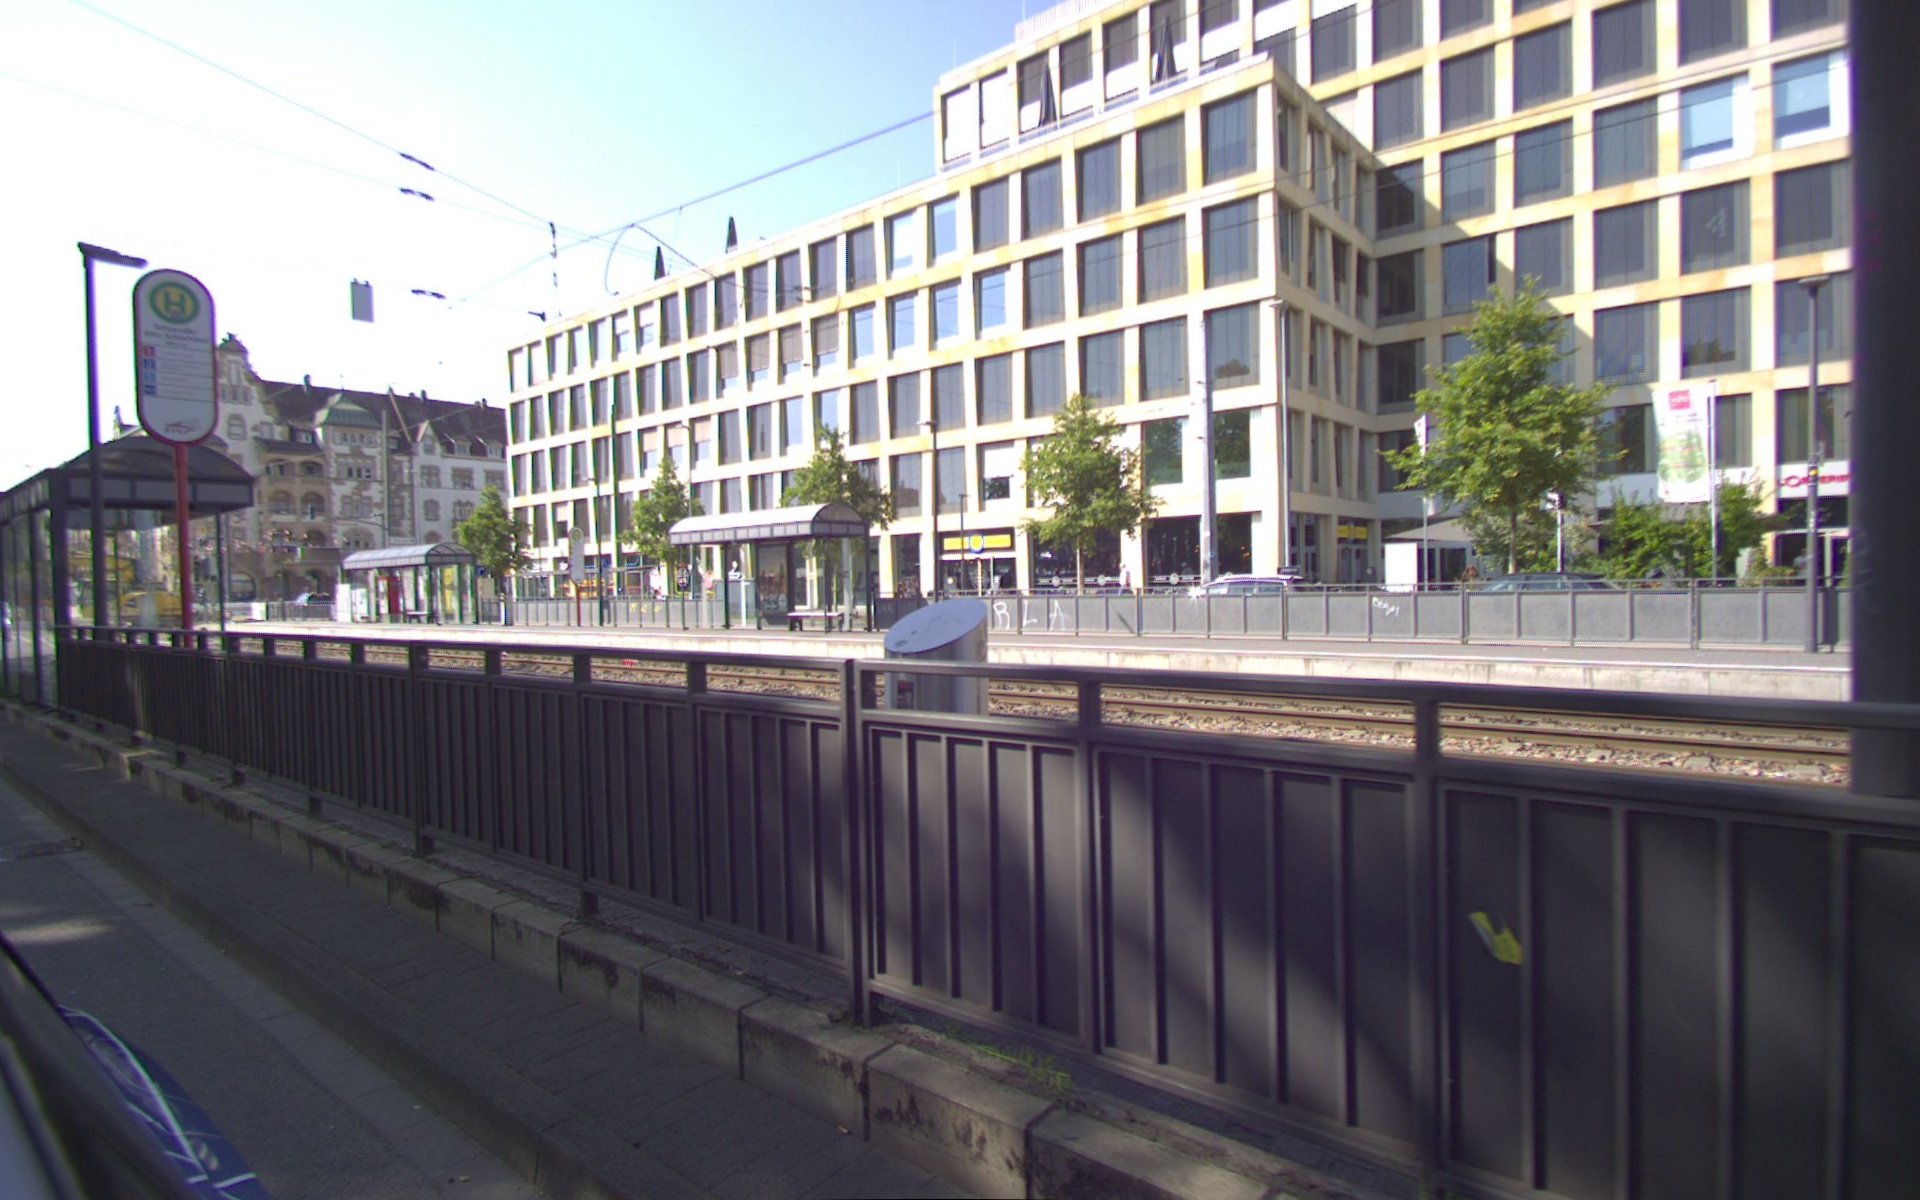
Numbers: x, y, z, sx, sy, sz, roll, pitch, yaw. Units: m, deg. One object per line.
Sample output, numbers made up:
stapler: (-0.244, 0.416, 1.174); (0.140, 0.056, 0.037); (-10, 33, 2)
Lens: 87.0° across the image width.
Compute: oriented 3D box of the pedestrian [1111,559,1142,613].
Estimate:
pedestrian: (6.053, -0.514, 36.843); (0.836, 1.931, 0.786); (1, -1, 34)

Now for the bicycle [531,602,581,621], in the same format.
bicycle: (-22.914, 0.644, 57.460); (1.019, 0.975, 2.407); (-1, 1, 38)

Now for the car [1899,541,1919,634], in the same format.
car: (18.016, -0.235, 16.268); (4.128, 1.546, 1.746); (-1, 0, 39)

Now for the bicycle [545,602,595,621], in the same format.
bicycle: (-21.785, 0.657, 56.571); (0.944, 0.975, 2.407); (-1, 1, 38)

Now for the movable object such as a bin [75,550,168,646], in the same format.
movable object such as a bin: (-42.219, -0.106, 50.930); (4.211, 4.588, 2.955); (-2, 0, 42)

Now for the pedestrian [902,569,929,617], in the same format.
pedestrian: (-1.902, -0.297, 42.947); (0.822, 2.029, 0.758); (-1, 0, 44)

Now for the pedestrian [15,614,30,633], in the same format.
pedestrian: (-64.587, 1.615, 69.696); (0.547, 1.256, 0.669); (-1, 0, 38)

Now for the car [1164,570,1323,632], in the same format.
car: (7.080, 0.026, 25.393); (3.500, 1.439, 1.538); (-1, 1, 38)

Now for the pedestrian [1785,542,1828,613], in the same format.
pedestrian: (24.704, -0.660, 29.545); (0.913, 2.029, 0.720); (-1, 0, 42)

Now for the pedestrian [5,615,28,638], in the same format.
pedestrian: (-49.319, 1.377, 52.921); (0.691, 1.186, 0.704); (-2, 0, -29)

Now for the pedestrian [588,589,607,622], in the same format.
pedestrian: (-22.517, 0.340, 62.892); (0.689, 2.029, 0.843); (0, -1, 40)

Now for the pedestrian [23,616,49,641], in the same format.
pedestrian: (-44.670, 1.394, 48.906); (0.691, 1.163, 0.589); (-2, 0, -10)

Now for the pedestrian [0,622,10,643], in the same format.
pedestrian: (-44.936, 1.543, 47.292); (0.881, 0.962, 0.693); (-1, 0, 41)

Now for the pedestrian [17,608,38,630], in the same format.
pedestrian: (-66.364, 1.351, 72.009); (0.727, 1.568, 0.753); (-2, 0, -2)

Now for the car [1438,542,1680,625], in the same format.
car: (12.387, -0.300, 21.043); (4.128, 1.546, 1.746); (-1, 0, 39)

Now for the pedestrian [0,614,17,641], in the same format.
pedestrian: (-48.937, 1.427, 51.825); (0.691, 1.345, 0.839); (-2, 0, -29)

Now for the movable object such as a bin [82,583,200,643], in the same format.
movable object such as a bin: (-47.026, 0.715, 58.199); (3.547, 3.247, 4.091); (-2, 0, 25)
